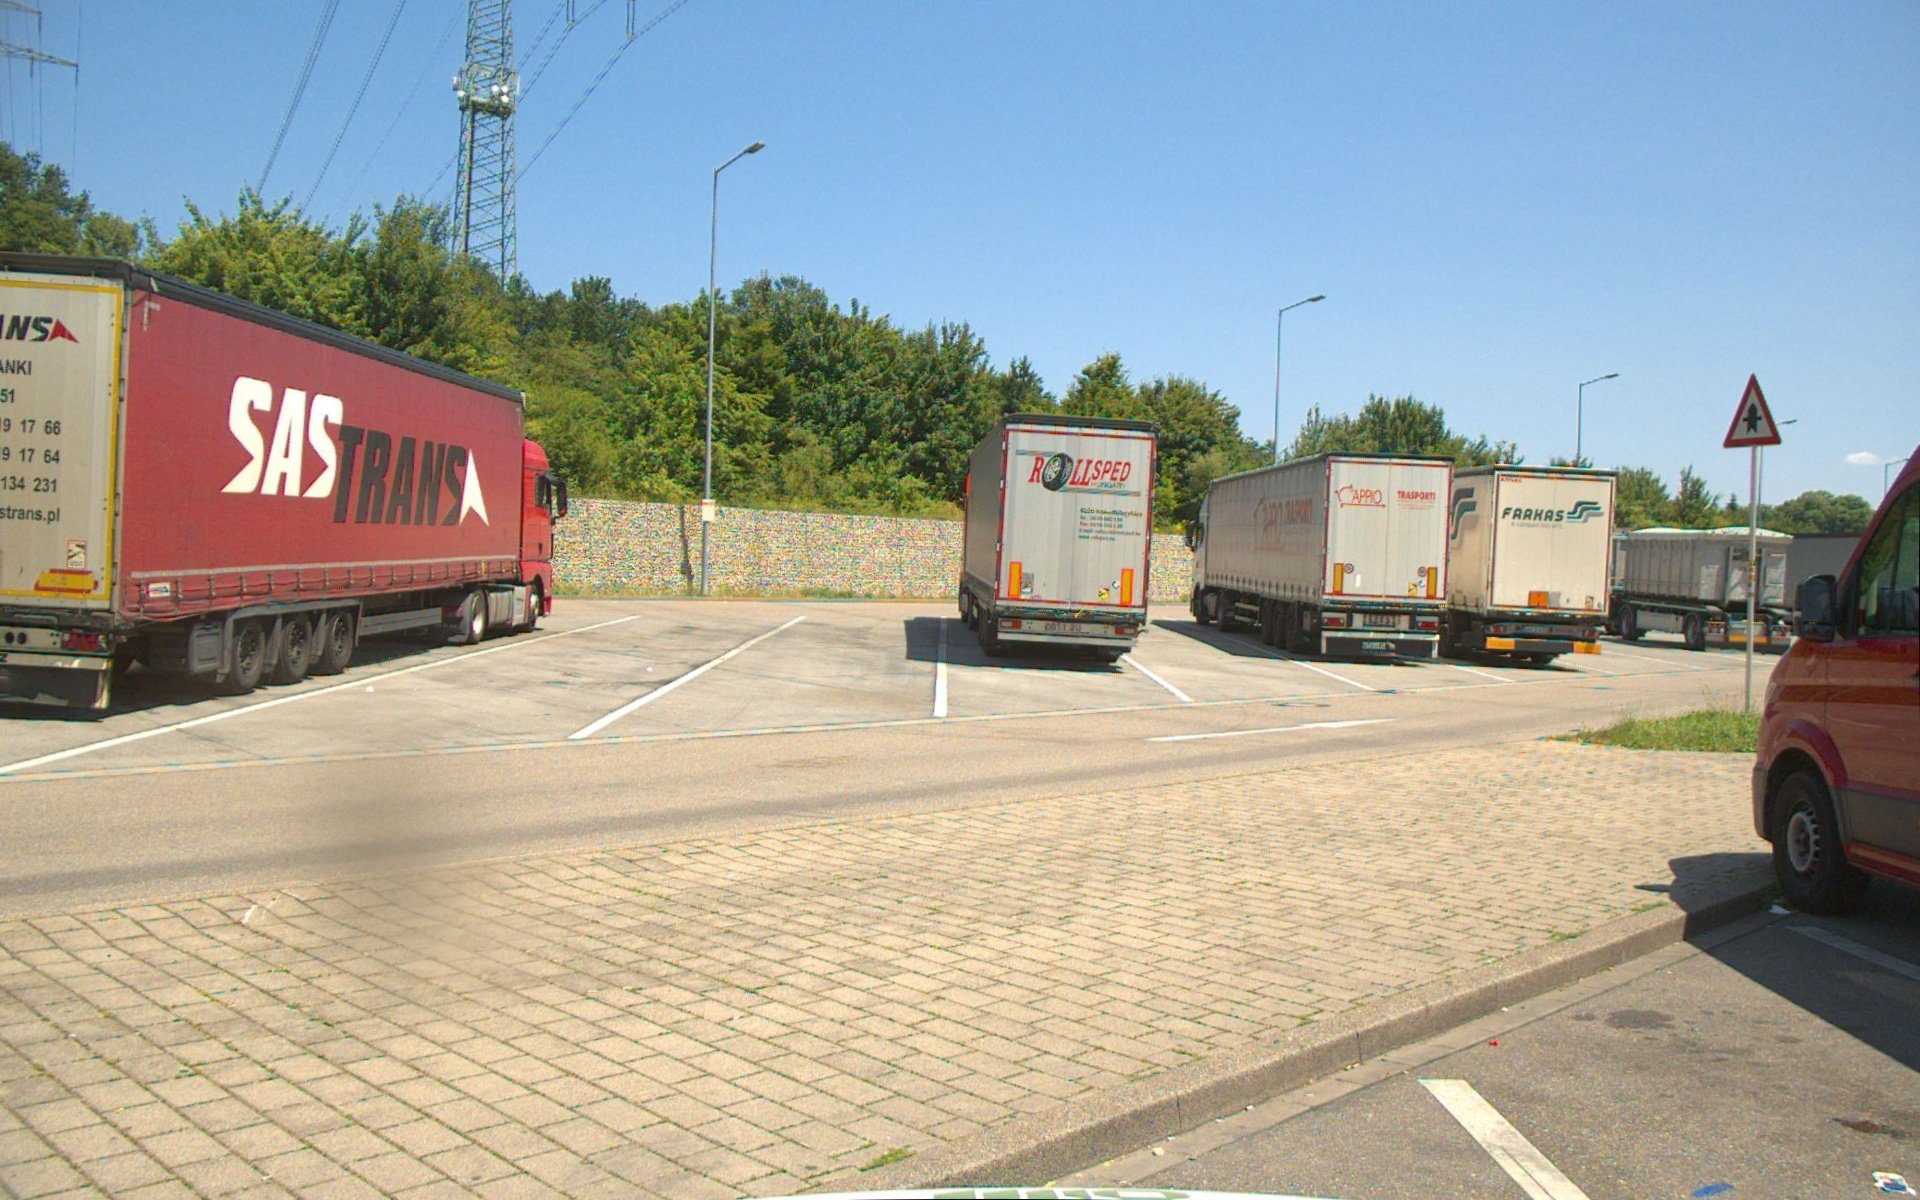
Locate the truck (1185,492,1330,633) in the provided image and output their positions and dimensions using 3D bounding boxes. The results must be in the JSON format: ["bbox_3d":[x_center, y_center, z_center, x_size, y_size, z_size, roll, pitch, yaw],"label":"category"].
[{"bbox_3d":[8.094,-1.051,45.633,2.794,3.544,5.482,2,2,-1],"label":"truck"}]

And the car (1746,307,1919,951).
[{"bbox_3d":[5.008,0.158,5.556,2.023,2.742,6.397,1,1,4],"label":"car"}]

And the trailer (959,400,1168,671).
[{"bbox_3d":[1.648,-1.241,33.235,2.848,4.204,13.720,2,2,-1],"label":"trailer"}]

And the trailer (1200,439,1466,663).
[{"bbox_3d":[8.209,-1.151,38.824,2.781,4.204,13.722,2,2,-1],"label":"trailer"}]

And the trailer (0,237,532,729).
[{"bbox_3d":[-8.682,-1.302,21.182,2.848,4.203,13.723,2,2,-1],"label":"trailer"}]

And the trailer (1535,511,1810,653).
[{"bbox_3d":[21.926,-0.702,52.203,2.780,3.781,13.726,2,2,1],"label":"trailer"}]

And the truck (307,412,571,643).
[{"bbox_3d":[-8.795,-1.213,28.618,2.794,3.487,5.482,2,2,-1],"label":"truck"}]

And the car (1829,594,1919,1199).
[{"bbox_3d":[2.596,0.794,1.151,1.703,1.508,3.813,1,1,-6],"label":"car"}]

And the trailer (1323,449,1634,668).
[{"bbox_3d":[11.768,-1.031,39.628,2.781,4.204,13.722,2,2,-1],"label":"trailer"}]

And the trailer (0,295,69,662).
[{"bbox_3d":[-12.527,-1.312,15.699,2.673,4.282,10.170,2,2,-1],"label":"trailer"}]

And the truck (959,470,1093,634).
[{"bbox_3d":[1.480,-1.154,39.844,2.794,3.544,5.482,2,2,-1],"label":"truck"}]

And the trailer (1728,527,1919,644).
[{"bbox_3d":[34.938,-0.666,65.407,2.780,4.119,13.726,2,2,1],"label":"trailer"}]

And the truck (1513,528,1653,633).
[{"bbox_3d":[22.007,-0.734,58.707,2.794,3.423,5.484,2,2,0],"label":"truck"}]
